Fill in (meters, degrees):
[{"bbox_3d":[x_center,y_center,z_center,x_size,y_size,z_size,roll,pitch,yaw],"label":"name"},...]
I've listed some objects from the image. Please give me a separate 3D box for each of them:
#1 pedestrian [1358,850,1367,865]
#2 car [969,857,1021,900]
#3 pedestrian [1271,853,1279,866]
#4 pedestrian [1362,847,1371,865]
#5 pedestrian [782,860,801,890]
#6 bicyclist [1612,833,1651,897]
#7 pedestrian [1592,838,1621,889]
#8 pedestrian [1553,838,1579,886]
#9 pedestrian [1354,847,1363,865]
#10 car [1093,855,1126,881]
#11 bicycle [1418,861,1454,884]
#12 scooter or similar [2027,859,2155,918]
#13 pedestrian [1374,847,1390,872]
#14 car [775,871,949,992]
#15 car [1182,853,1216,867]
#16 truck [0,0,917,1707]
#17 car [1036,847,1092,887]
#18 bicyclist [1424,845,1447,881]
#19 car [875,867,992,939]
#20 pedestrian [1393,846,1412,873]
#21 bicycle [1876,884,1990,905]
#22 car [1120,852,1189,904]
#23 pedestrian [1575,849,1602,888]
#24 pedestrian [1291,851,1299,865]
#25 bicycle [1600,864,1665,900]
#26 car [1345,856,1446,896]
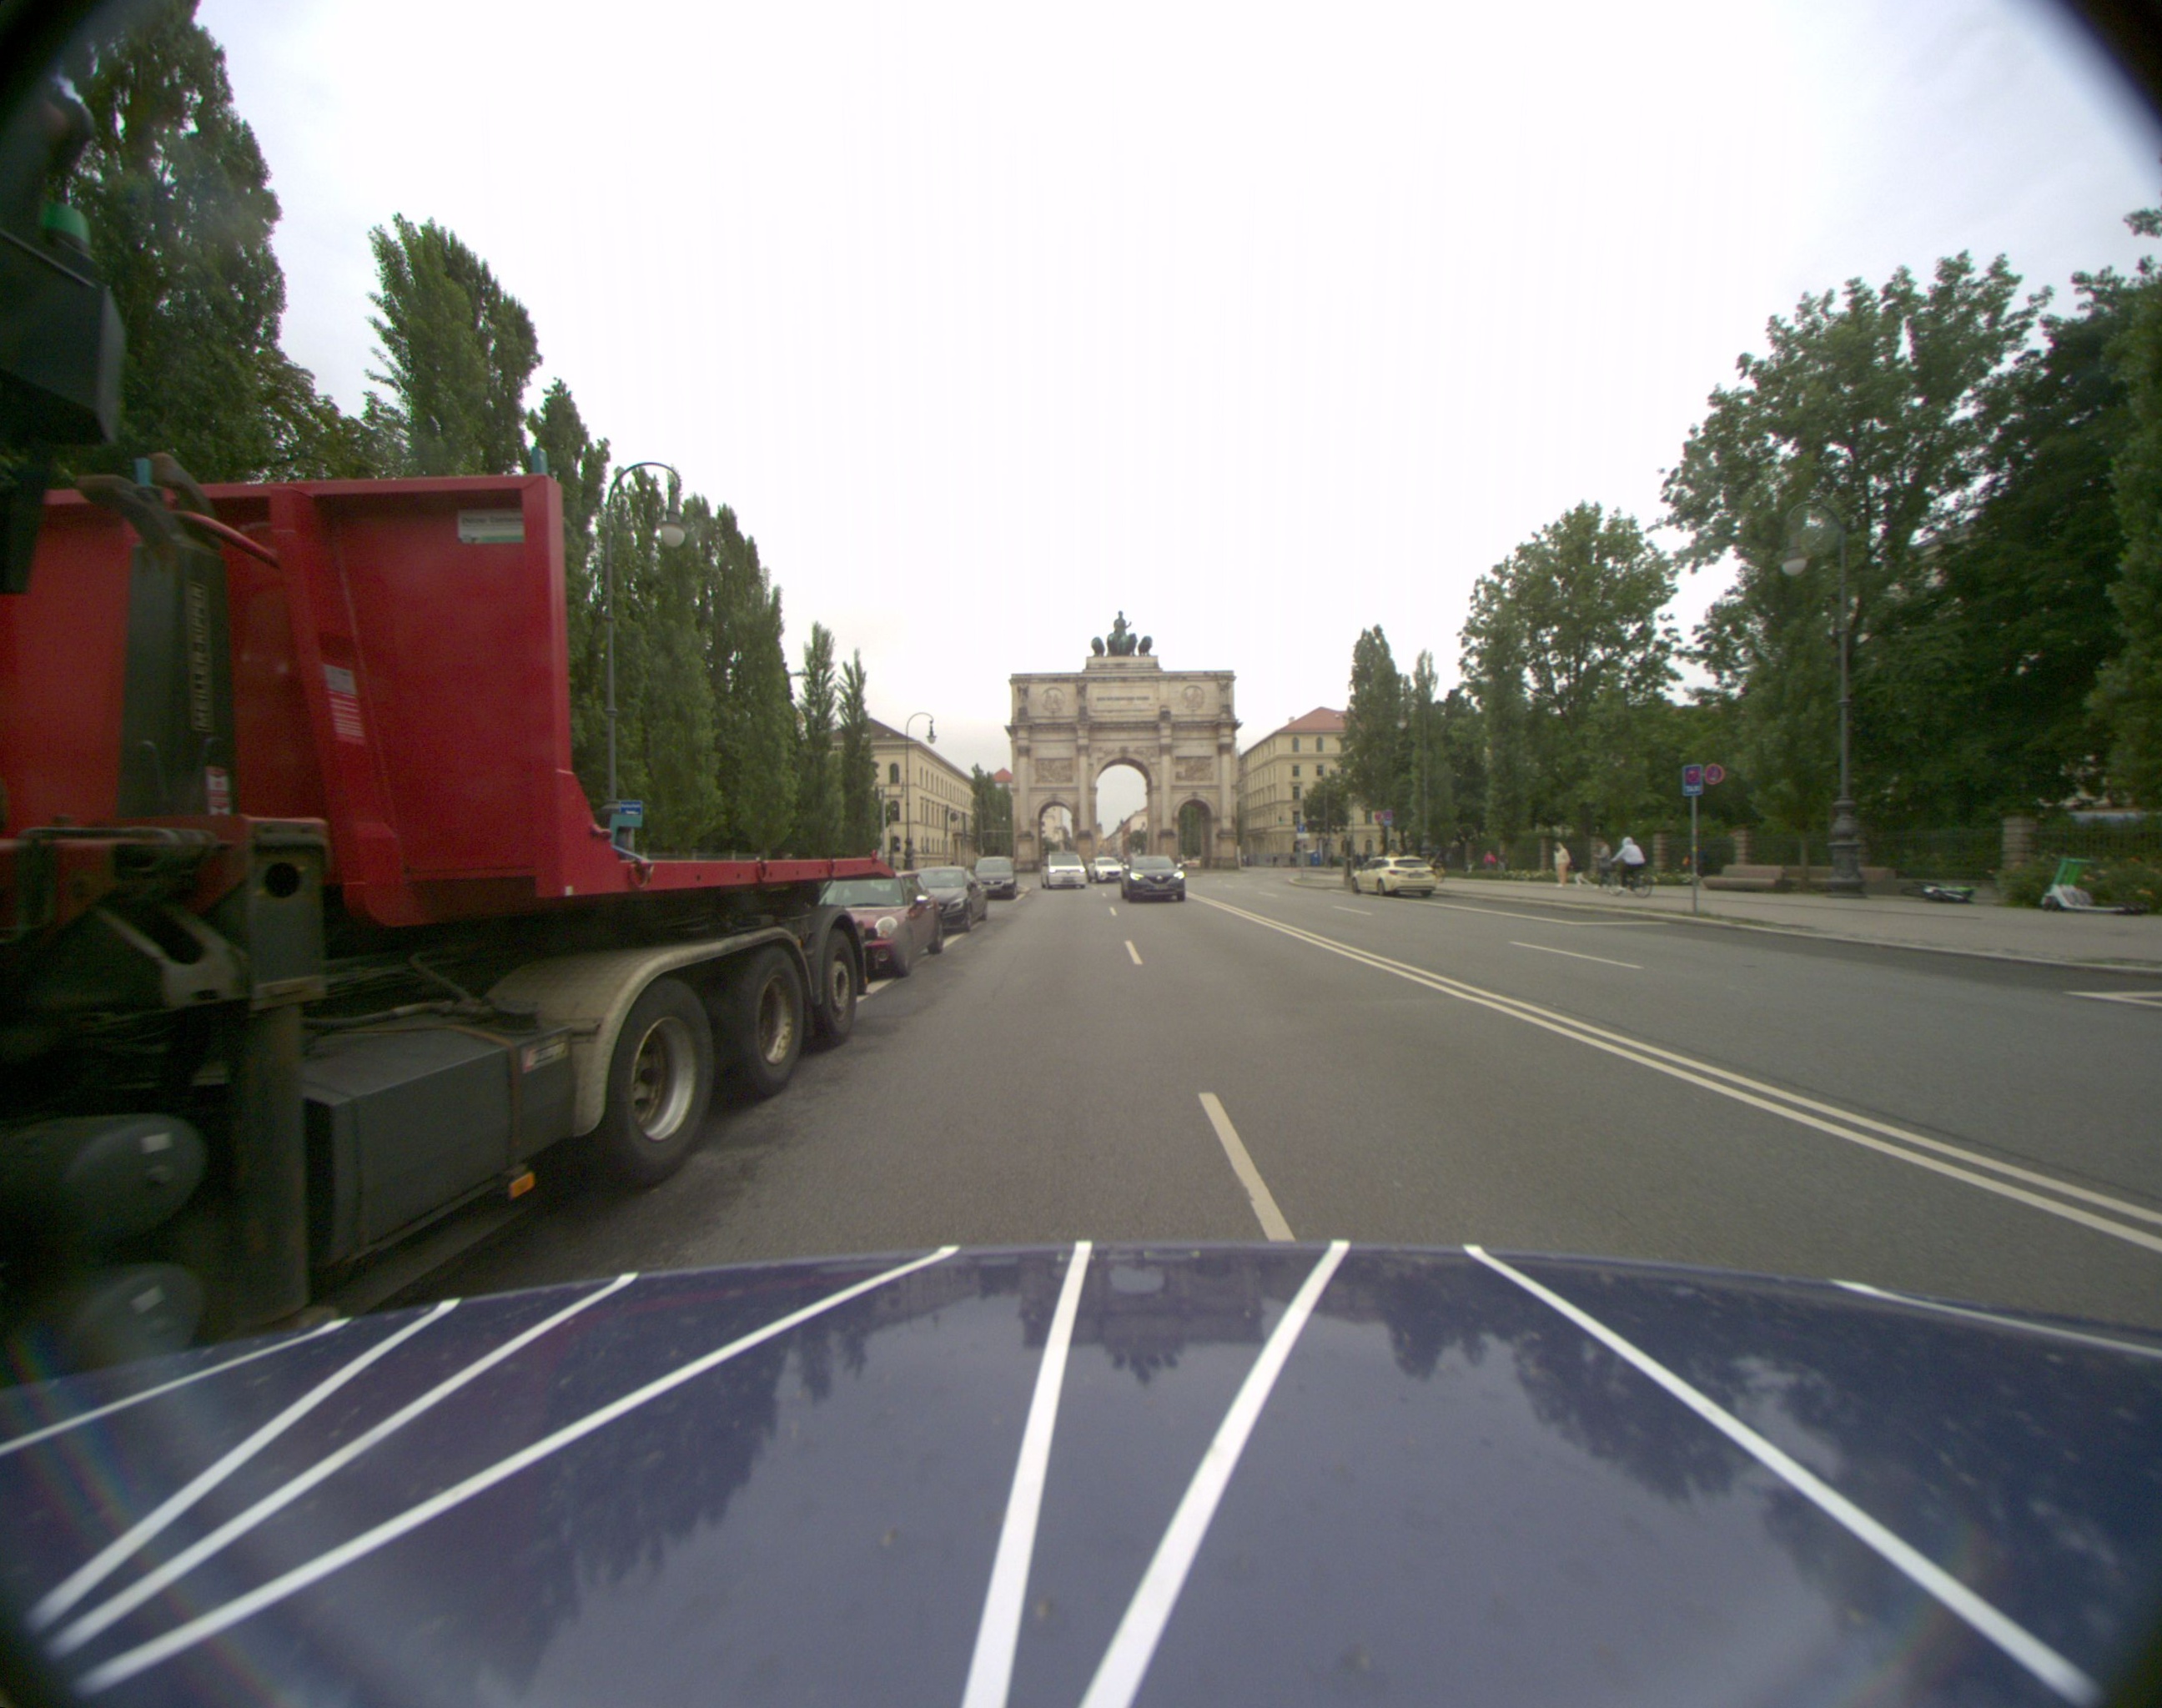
[{"bbox_3d":[33.003,0.415,89.025,0.880,1.812,0.686,-1,0,10],"label":"pedestrian"},{"bbox_3d":[-3.434,0.918,30.922,1.847,1.597,4.367,-1,0,-4],"label":"car"},{"bbox_3d":[27.129,0.794,106.249,1.031,1.812,0.882,-1,0,8],"label":"pedestrian"},{"bbox_3d":[31.937,0.271,85.051,0.769,2.002,0.887,-1,0,10],"label":"pedestrian"},{"bbox_3d":[-17.719,1.278,46.541,0.812,1.761,0.884,-1,0,-1],"label":"pedestrian"},{"bbox_3d":[15.944,0.314,22.001,0.591,1.812,0.661,-2,0,-1],"label":"bicyclist"},{"bbox_3d":[18.010,0.328,26.047,0.533,1.720,0.583,-1,0,-10],"label":"pedestrian"},{"bbox_3d":[17.829,0.298,27.939,0.533,1.720,0.583,-1,0,-10],"label":"pedestrian"},{"bbox_3d":[31.125,0.271,85.172,0.769,2.002,0.887,-1,0,10],"label":"pedestrian"},{"bbox_3d":[1.803,0.829,46.834,1.909,1.516,4.010,-1,0,3],"label":"car"},{"bbox_3d":[15.886,0.812,34.033,0.674,0.947,1.914,-2,0,0],"label":"bicycle"},{"bbox_3d":[21.085,0.700,15.903,0.747,1.171,1.416,0,0,-4],"label":"scooter or similar"},{"bbox_3d":[21.465,0.404,54.129,0.958,1.708,1.032,-2,1,23],"label":"pedestrian"},{"bbox_3d":[-3.111,1.028,11.525,1.565,1.460,3.653,-1,0,0],"label":"car"},{"bbox_3d":[15.237,0.764,98.197,2.004,1.739,3.989,-1,0,-39],"label":"car"},{"bbox_3d":[-3.340,-0.054,3.517,2.852,3.543,10.278,-2,0,0],"label":"truck"},{"bbox_3d":[-0.988,0.664,40.256,2.066,1.916,5.723,-2,0,-10],"label":"car"},{"bbox_3d":[15.876,0.404,34.045,0.647,1.582,0.661,-2,0,-1],"label":"bicyclist"},{"bbox_3d":[-3.259,1.034,17.684,1.847,1.383,4.438,-1,0,0],"label":"car"},{"bbox_3d":[20.944,0.337,49.546,0.959,1.708,1.031,-2,1,13],"label":"pedestrian"},{"bbox_3d":[22.727,1.063,20.289,2.219,0.450,1.340,-1,-1,-22],"label":"bicycle"},{"bbox_3d":[2.437,0.761,26.134,1.840,1.576,4.184,-1,0,-1],"label":"car"},{"bbox_3d":[18.204,0.504,27.244,0.533,1.367,0.583,-1,0,-10],"label":"pedestrian"},{"bbox_3d":[28.466,0.516,101.122,0.880,1.812,0.686,-1,0,10],"label":"pedestrian"},{"bbox_3d":[15.968,0.794,22.072,0.470,0.947,1.914,-2,0,0],"label":"bicycle"},{"bbox_3d":[11.571,0.763,28.314,1.797,1.329,4.468,-1,0,-1],"label":"car"}]
